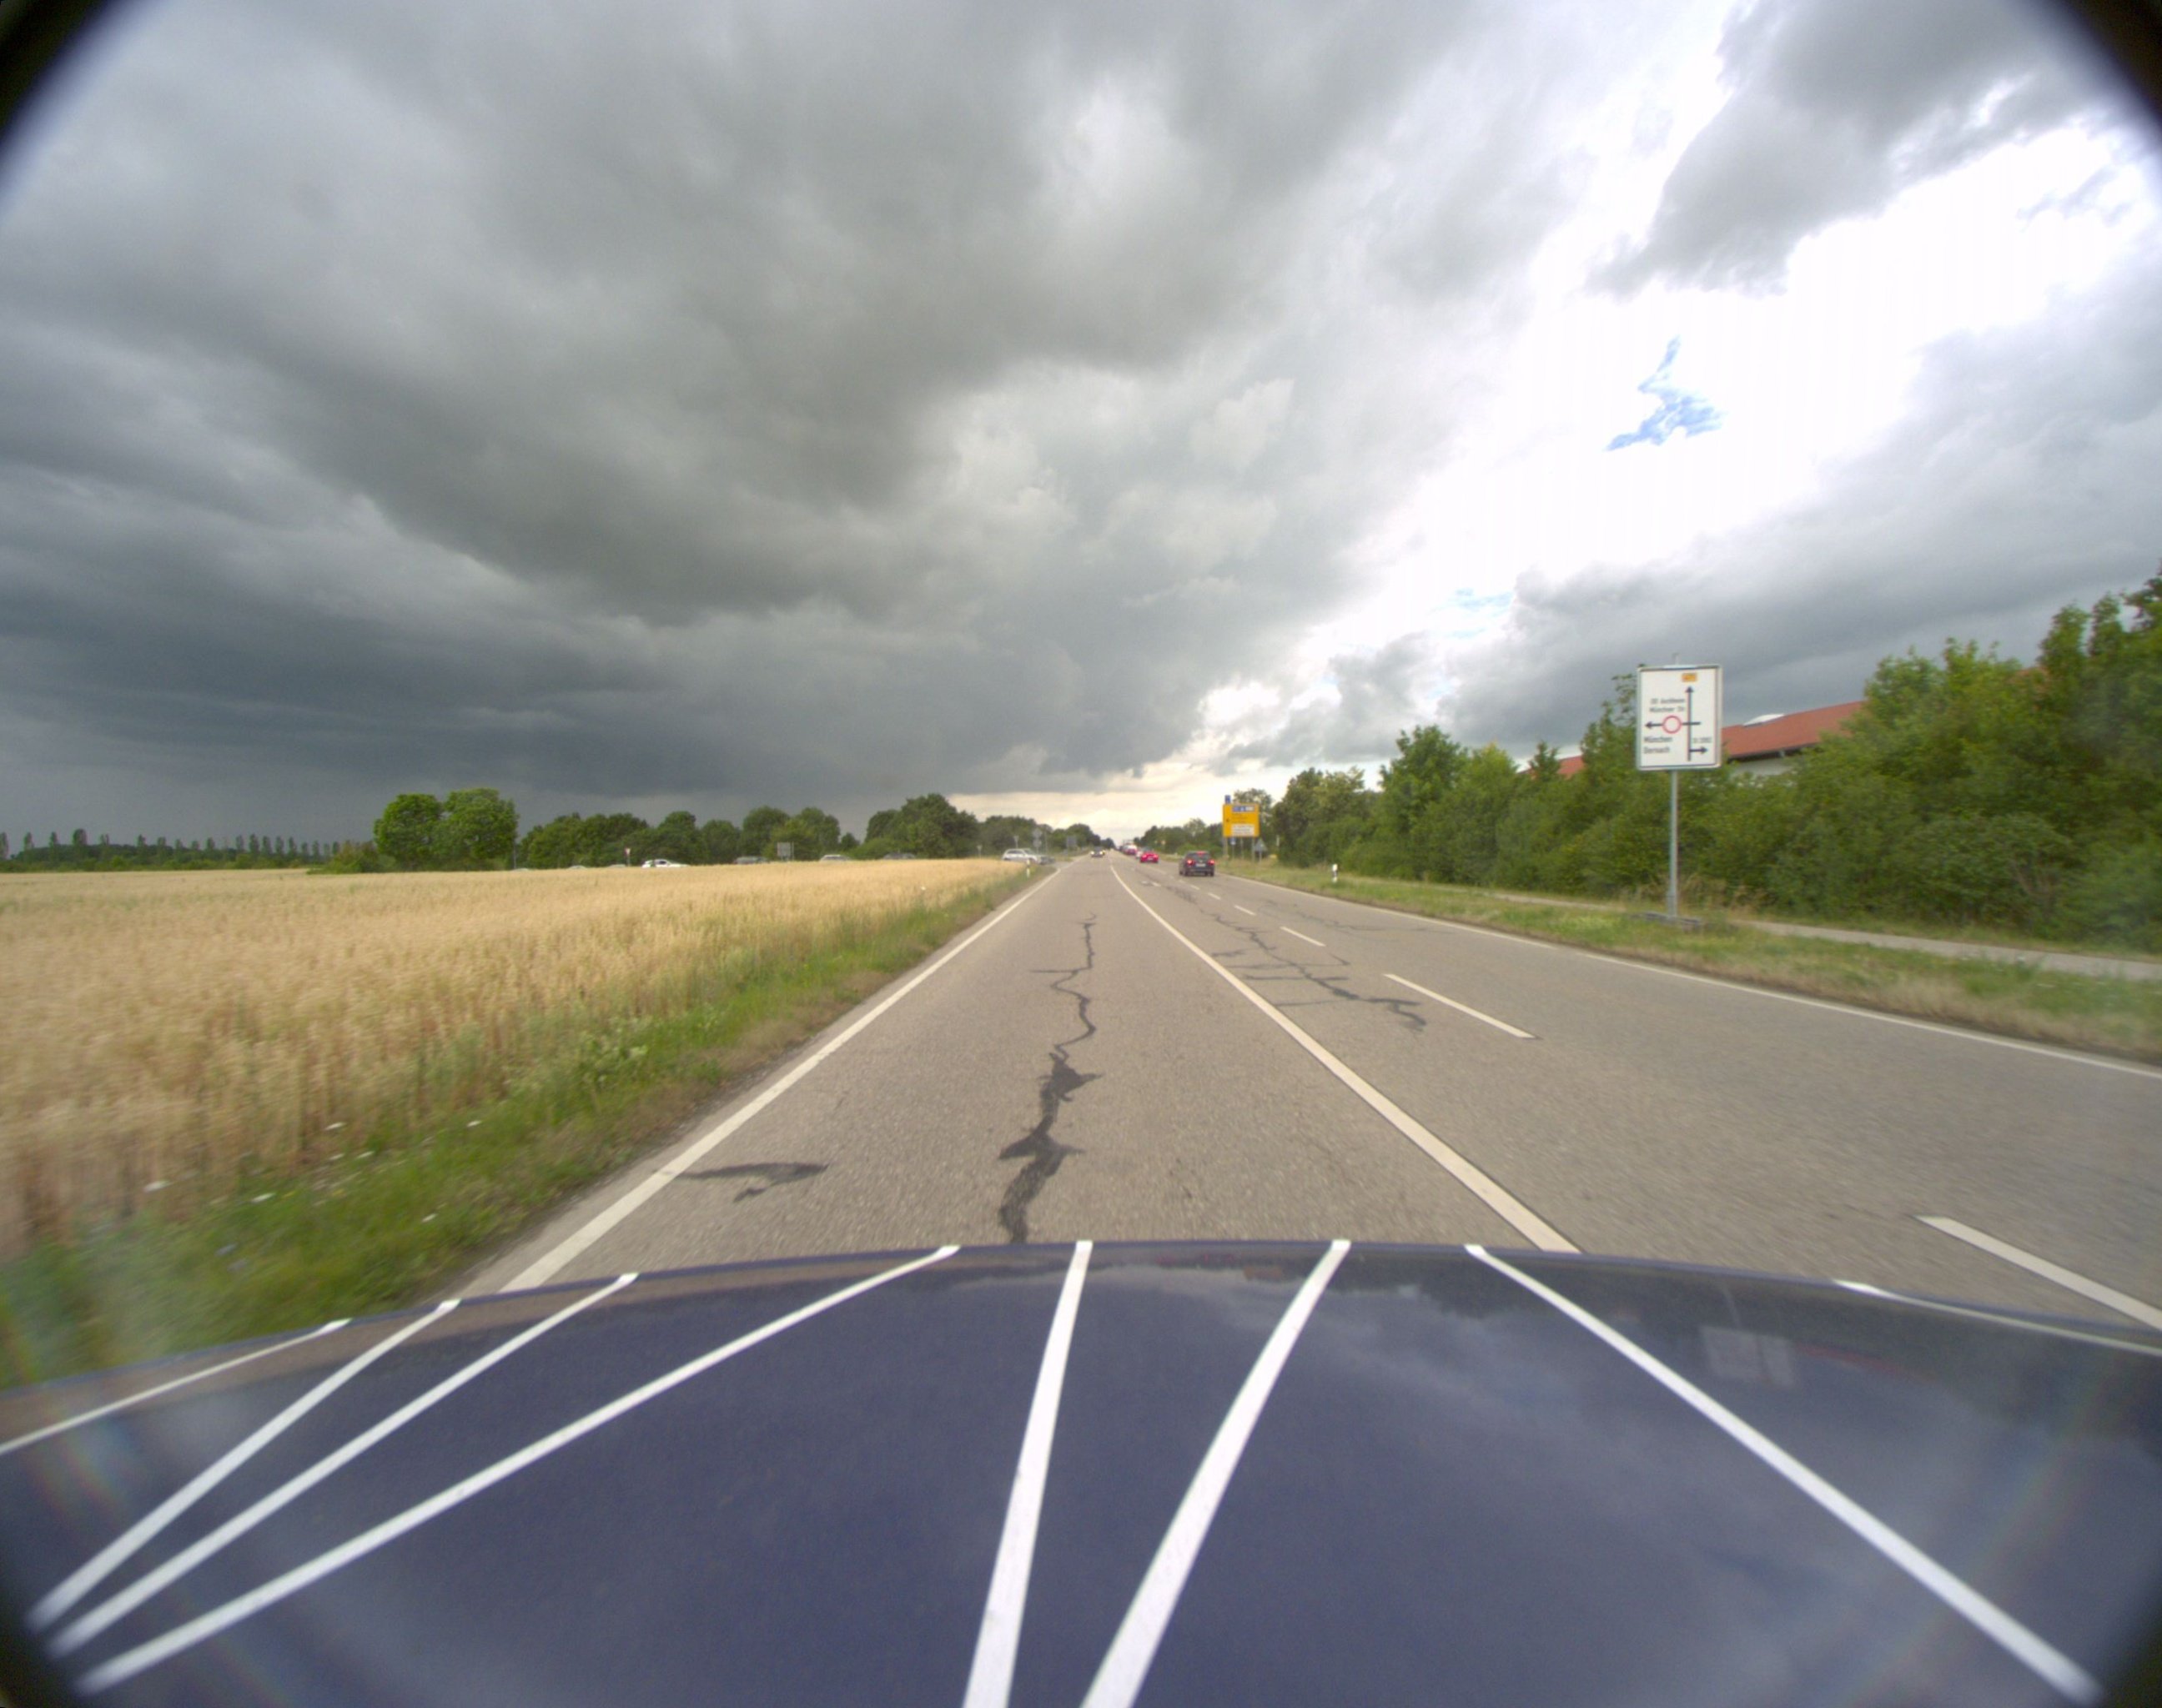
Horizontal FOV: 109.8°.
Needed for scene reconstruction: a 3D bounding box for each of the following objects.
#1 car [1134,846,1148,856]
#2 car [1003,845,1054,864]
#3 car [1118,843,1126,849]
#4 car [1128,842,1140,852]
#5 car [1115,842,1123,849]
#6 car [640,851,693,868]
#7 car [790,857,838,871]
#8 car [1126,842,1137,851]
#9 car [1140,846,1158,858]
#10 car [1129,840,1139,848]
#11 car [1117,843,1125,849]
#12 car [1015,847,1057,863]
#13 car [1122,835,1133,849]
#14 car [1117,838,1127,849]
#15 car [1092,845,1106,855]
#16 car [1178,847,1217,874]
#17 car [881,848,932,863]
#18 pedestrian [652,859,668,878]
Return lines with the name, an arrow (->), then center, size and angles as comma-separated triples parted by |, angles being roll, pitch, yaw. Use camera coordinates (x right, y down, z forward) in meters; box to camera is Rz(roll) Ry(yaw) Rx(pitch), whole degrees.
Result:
car -> 8.670, -0.508, 110.509 | 1.734, 1.423, 3.934 | 0, 1, 1
car -> -4.964, 0.028, 71.347 | 4.381, 1.578, 2.000 | 0, 4, 33
car -> 10.944, -2.167, 203.149 | 1.856, 1.740, 4.000 | -1, 1, 1
car -> 10.554, -1.374, 151.170 | 2.111, 1.875, 5.390 | 0, 1, 1
car -> 11.841, -2.642, 235.410 | 2.339, 1.911, 4.875 | -1, 1, 2
car -> -43.030, 0.565, 78.948 | 4.633, 1.486, 1.722 | -1, 3, 6
car -> -27.356, 1.004, 77.915 | 4.209, 1.345, 1.723 | -1, 1, 6
car -> 10.462, -1.564, 158.336 | 1.998, 1.614, 4.260 | 1, 1, 0
car -> 7.389, -0.244, 83.166 | 1.775, 1.234, 4.211 | 0, 1, 2
car -> 9.830, -1.814, 141.508 | 1.676, 1.394, 4.089 | 0, 1, 2
car -> 9.933, -1.936, 190.787 | 1.847, 1.516, 4.000 | -1, 1, 2
car -> -4.504, 0.121, 75.701 | 4.116, 1.439, 1.717 | -1, 2, -5
car -> 10.407, -2.669, 169.884 | 2.339, 3.011, 6.558 | 1, 1, 2
car -> 11.678, -3.009, 216.344 | 2.339, 3.011, 6.557 | -1, 1, 1
car -> 2.765, -0.651, 116.586 | 1.998, 1.474, 3.999 | -1, 1, 2
car -> 6.843, 0.348, 44.981 | 1.673, 1.421, 4.302 | 1, 1, 1
car -> -17.593, 0.184, 76.729 | 4.688, 1.346, 1.722 | -1, 3, 8
pedestrian -> -36.794, 1.256, 66.380 | 0.945, 1.602, 0.772 | -2, 1, -12
